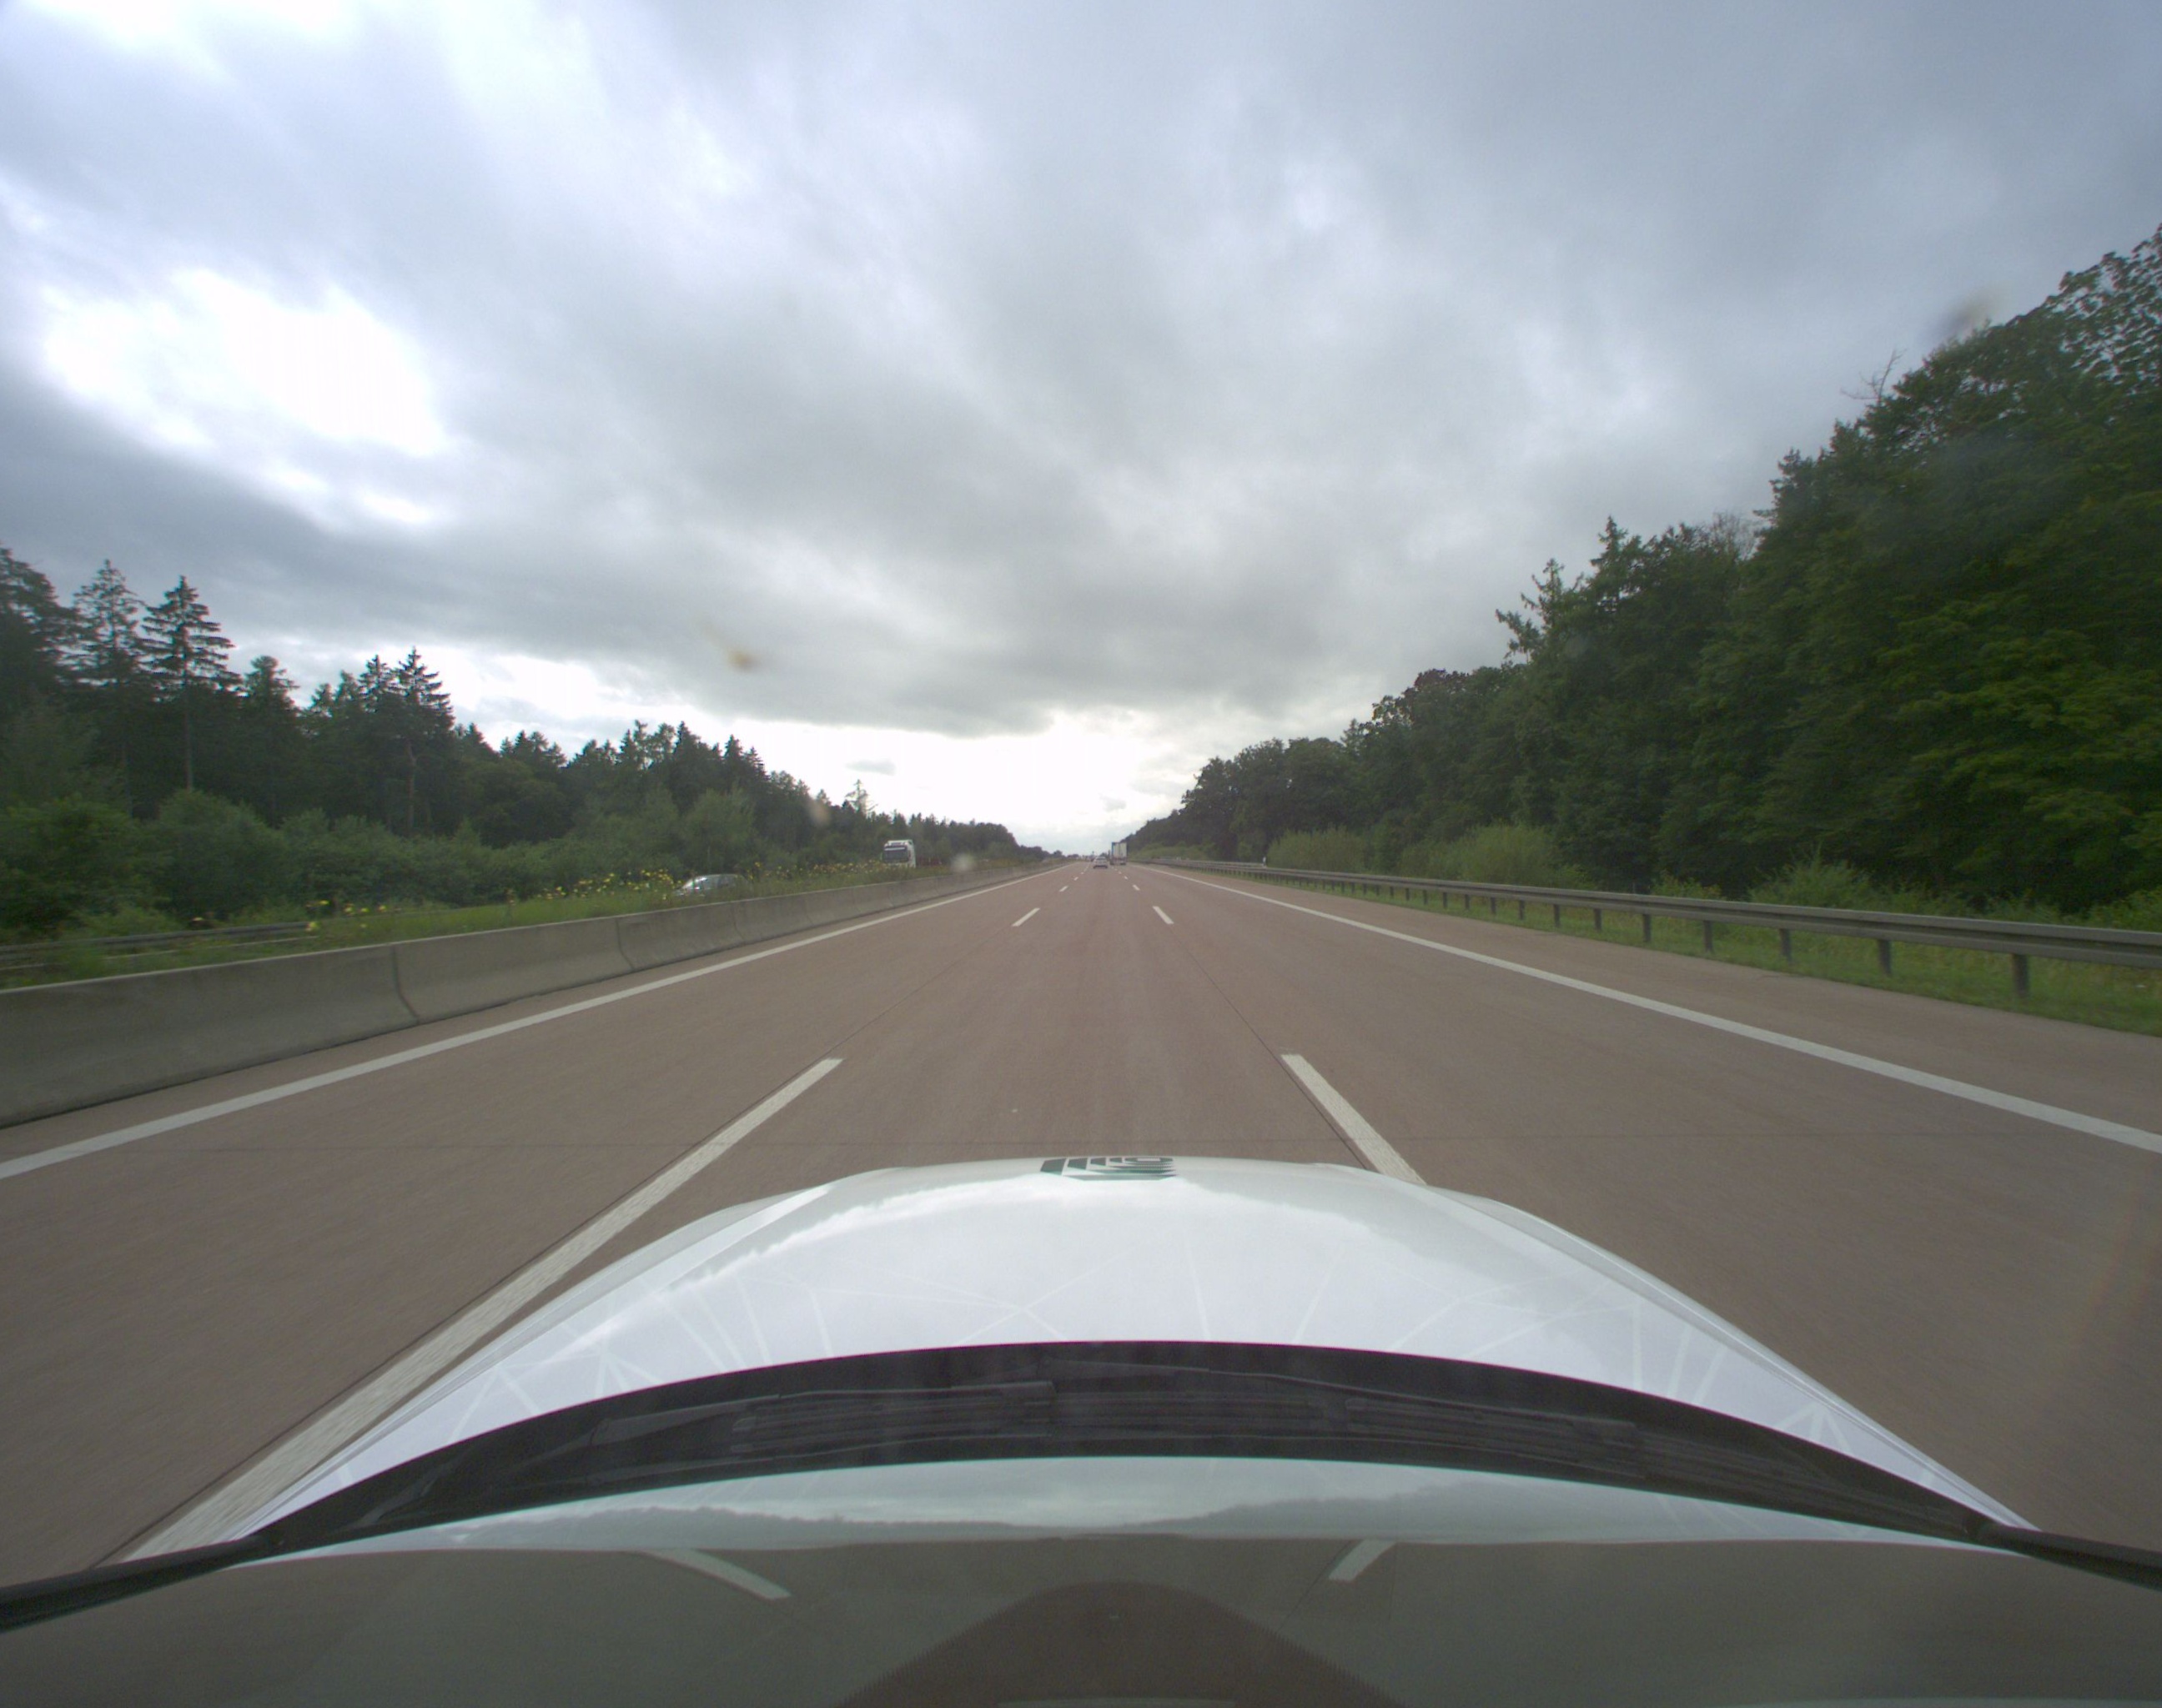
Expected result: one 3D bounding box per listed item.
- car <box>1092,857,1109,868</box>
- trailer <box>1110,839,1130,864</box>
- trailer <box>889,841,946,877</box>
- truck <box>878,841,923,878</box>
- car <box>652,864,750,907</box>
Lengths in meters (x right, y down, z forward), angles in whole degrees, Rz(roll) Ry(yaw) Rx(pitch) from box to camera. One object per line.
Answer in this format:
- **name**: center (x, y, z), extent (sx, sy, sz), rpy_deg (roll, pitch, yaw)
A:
- **car**: center (2.577, 1.104, 105.443), extent (2.155, 1.451, 4.721), rpy_deg (0, 0, 2)
- **trailer**: center (6.830, -0.370, 144.637), extent (2.911, 4.294, 13.613), rpy_deg (-1, -1, 1)
- **trailer**: center (-16.920, 0.521, 85.226), extent (2.923, 3.419, 13.275), rpy_deg (0, 0, 2)
- **truck**: center (-17.141, 0.505, 77.554), extent (2.923, 3.419, 5.346), rpy_deg (0, 0, 1)
- **car**: center (-14.260, 1.136, 30.817), extent (1.741, 1.434, 3.894), rpy_deg (-1, 0, 2)
